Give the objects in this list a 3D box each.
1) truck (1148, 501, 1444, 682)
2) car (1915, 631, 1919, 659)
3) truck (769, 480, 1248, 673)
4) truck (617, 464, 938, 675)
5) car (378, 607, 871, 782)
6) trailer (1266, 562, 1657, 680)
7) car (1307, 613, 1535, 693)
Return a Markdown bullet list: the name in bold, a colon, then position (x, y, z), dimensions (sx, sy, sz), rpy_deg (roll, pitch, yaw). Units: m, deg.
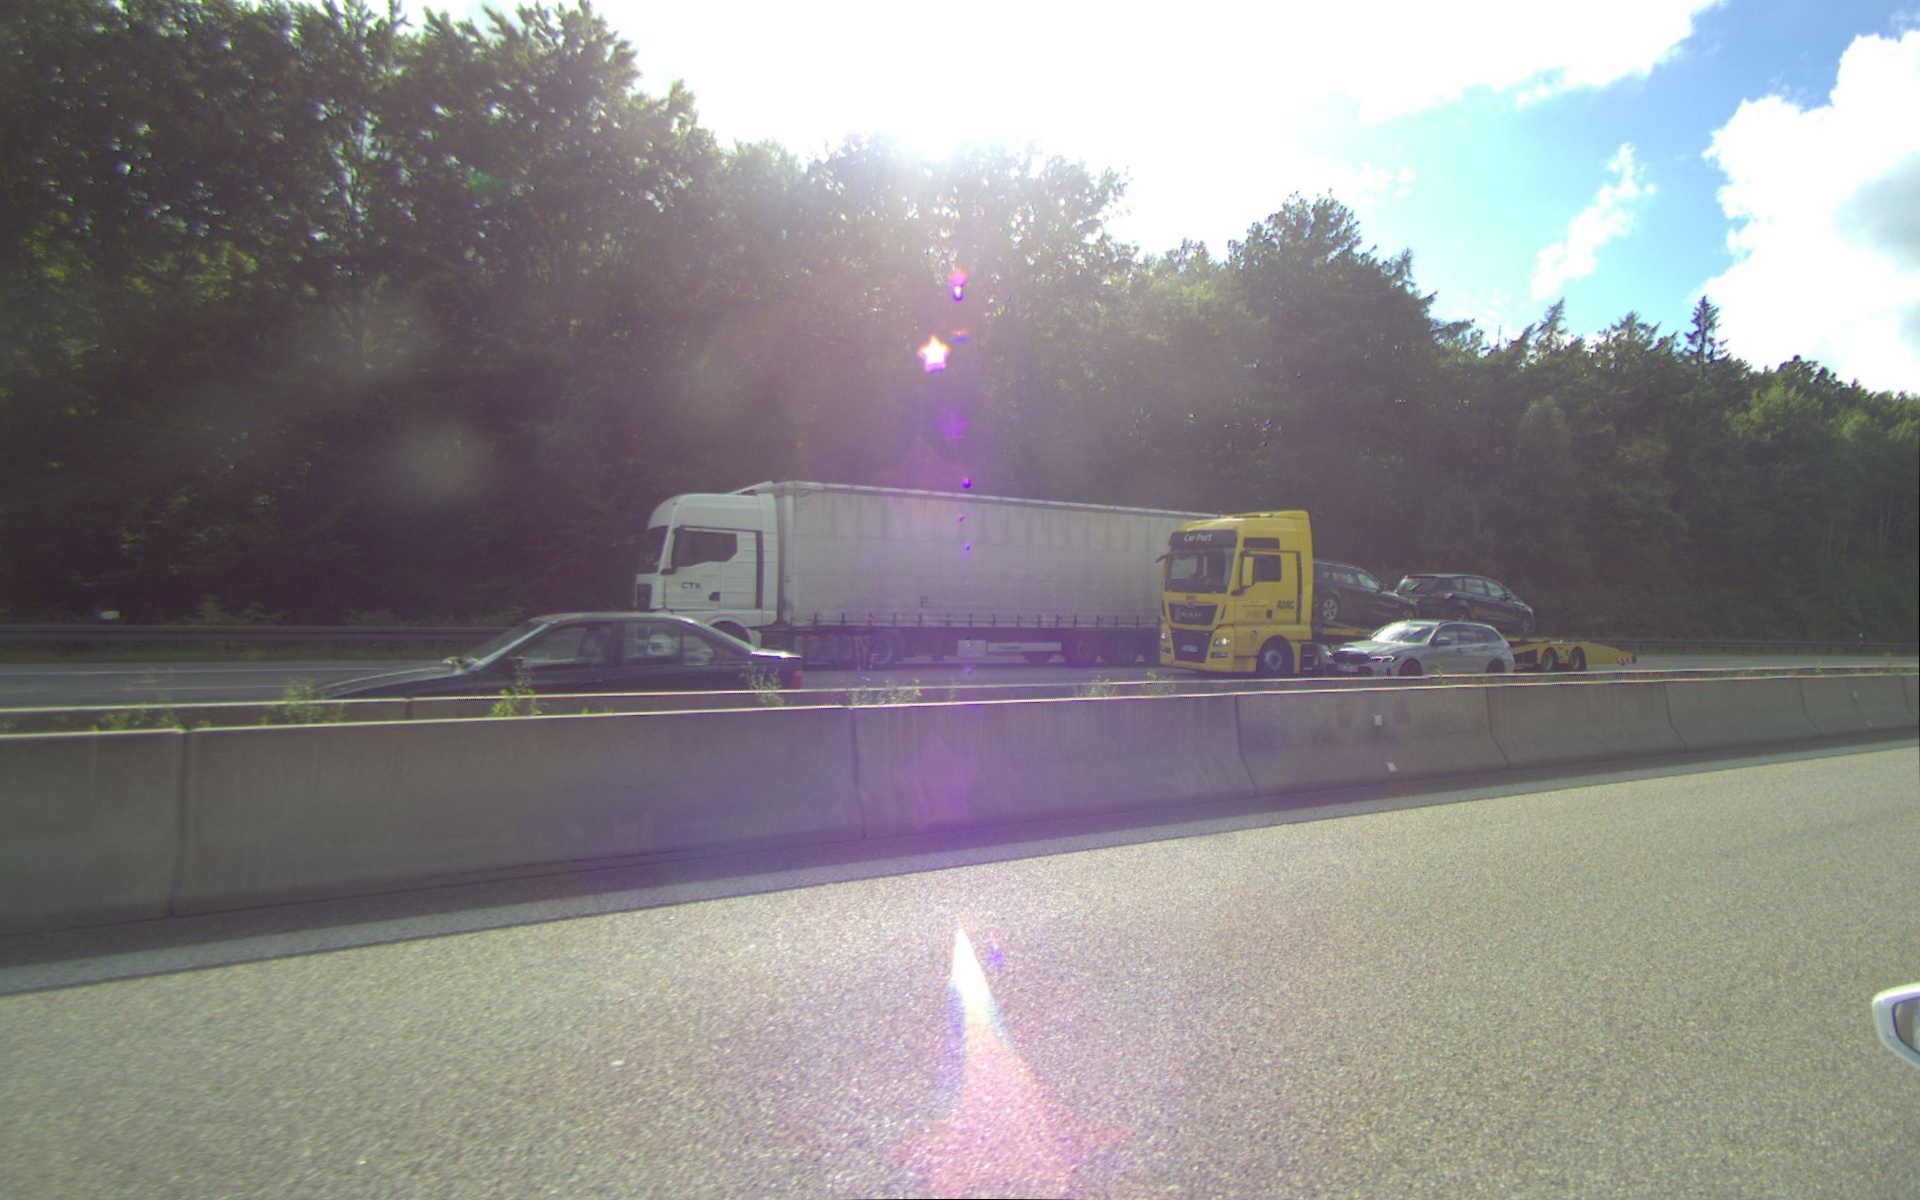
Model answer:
- **truck**: position (8.246, -0.107, 24.433), dimensions (7.047, 3.861, 2.764), rpy_deg (1, 0, -29)
- **car**: position (50.095, 2.295, 50.526), dimensions (4.881, 1.408, 1.803), rpy_deg (1, 0, -32)
- **truck**: position (1.760, -0.365, 25.874), dimensions (12.935, 4.123, 2.693), rpy_deg (1, 0, -31)
- **truck**: position (-4.001, -0.534, 22.481), dimensions (6.521, 4.123, 2.693), rpy_deg (1, 0, -30)
- **car**: position (-3.081, 0.773, 9.483), dimensions (4.150, 1.324, 1.675), rpy_deg (1, 0, -31)
- **trailer**: position (14.276, 0.636, 27.823), dimensions (13.150, 2.756, 2.764), rpy_deg (1, 0, -29)
- **car**: position (9.876, 1.093, 21.424), dimensions (4.925, 1.506, 1.984), rpy_deg (1, 0, -31)
